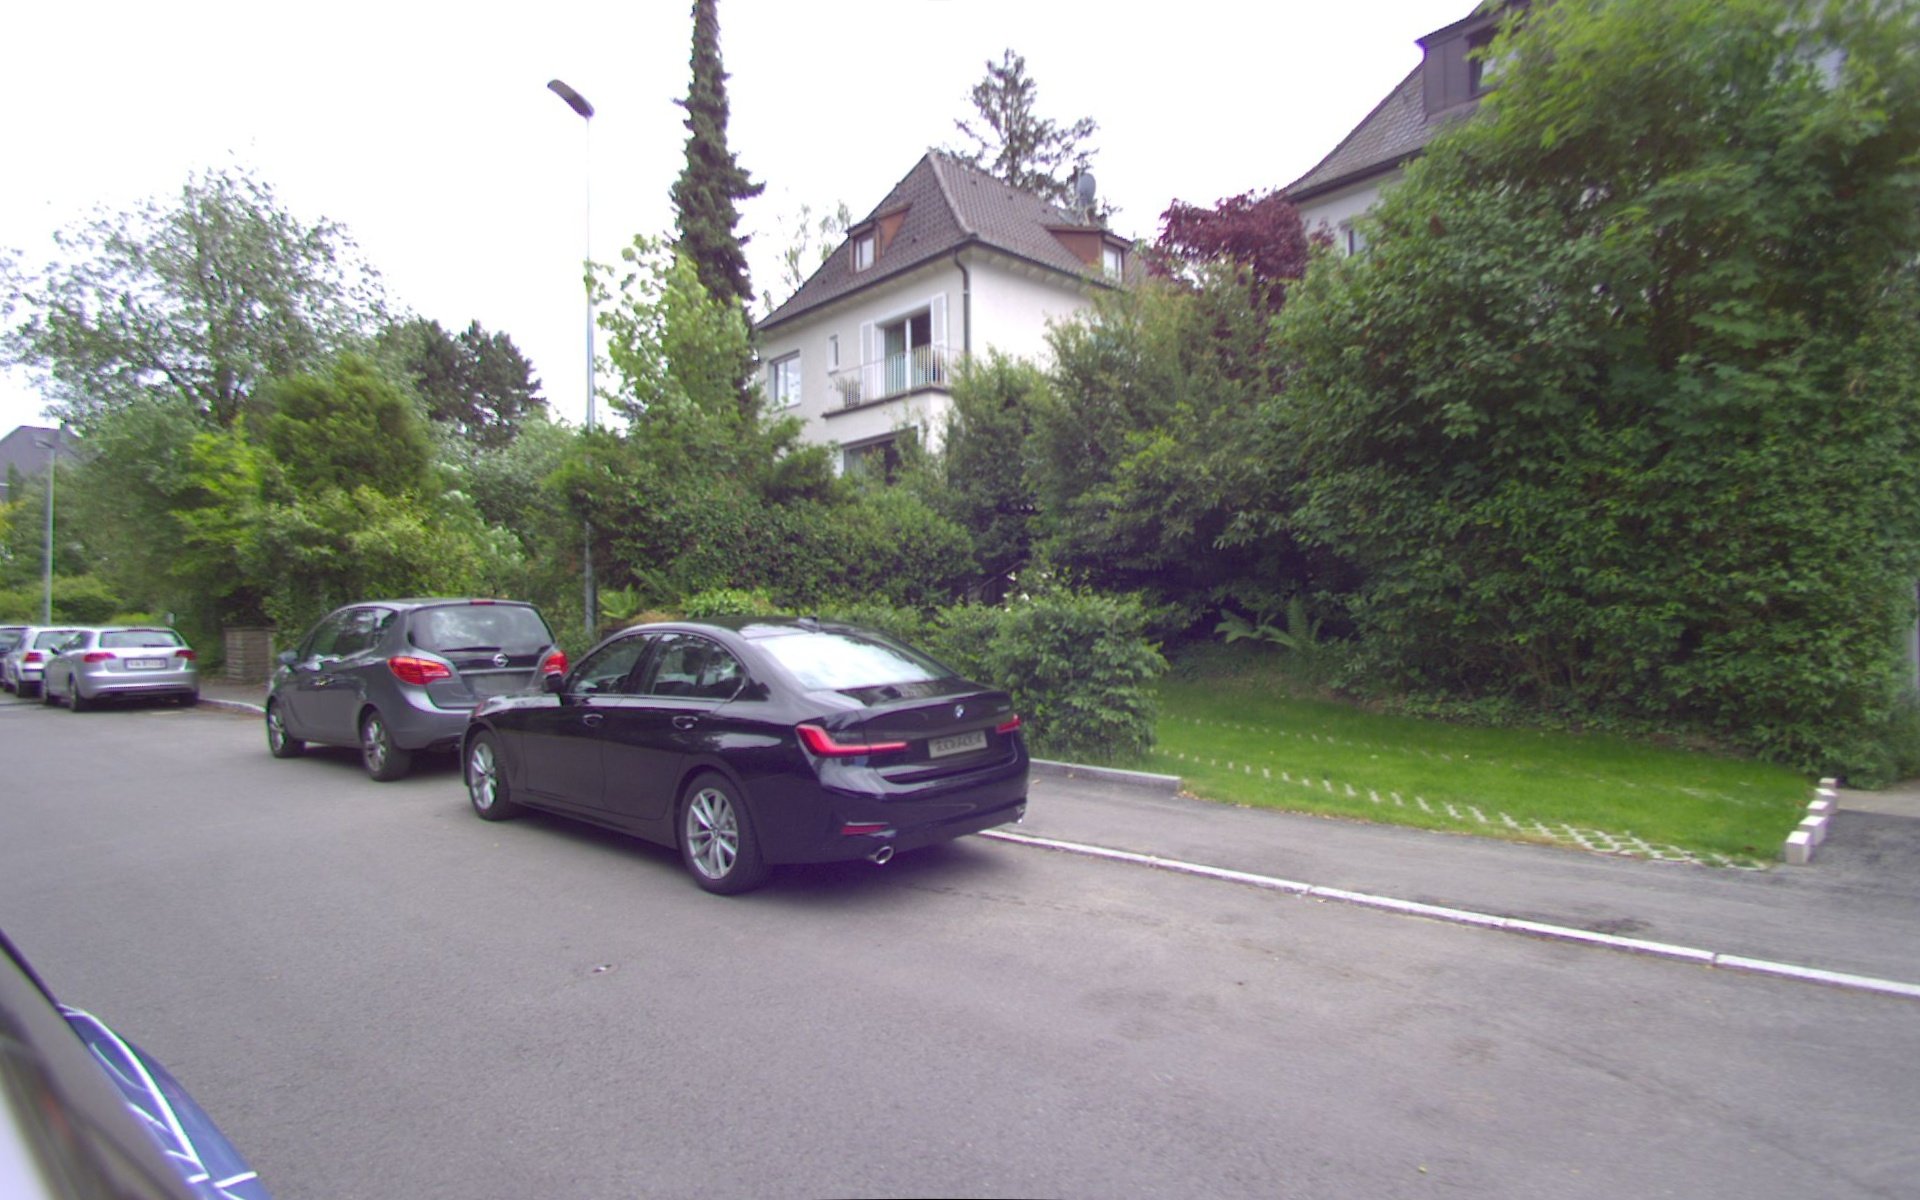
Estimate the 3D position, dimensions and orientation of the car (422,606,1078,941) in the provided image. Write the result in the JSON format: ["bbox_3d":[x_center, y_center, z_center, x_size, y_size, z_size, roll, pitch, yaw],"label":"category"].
[{"bbox_3d":[-1.726,0.799,6.703,4.898,1.423,1.735,-1,0,43],"label":"car"}]

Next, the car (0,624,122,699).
[{"bbox_3d":[-19.612,1.270,21.844,4.379,1.464,1.642,-2,-2,41],"label":"car"}]

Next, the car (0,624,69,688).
[{"bbox_3d":[-23.254,1.334,24.840,3.968,1.461,1.605,-1,-2,42],"label":"car"}]

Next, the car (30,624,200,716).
[{"bbox_3d":[-15.204,1.172,18.145,4.089,1.461,1.607,-1,-2,40],"label":"car"}]

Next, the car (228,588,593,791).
[{"bbox_3d":[-5.769,0.766,10.361,4.564,1.644,1.714,-1,0,40],"label":"car"}]
